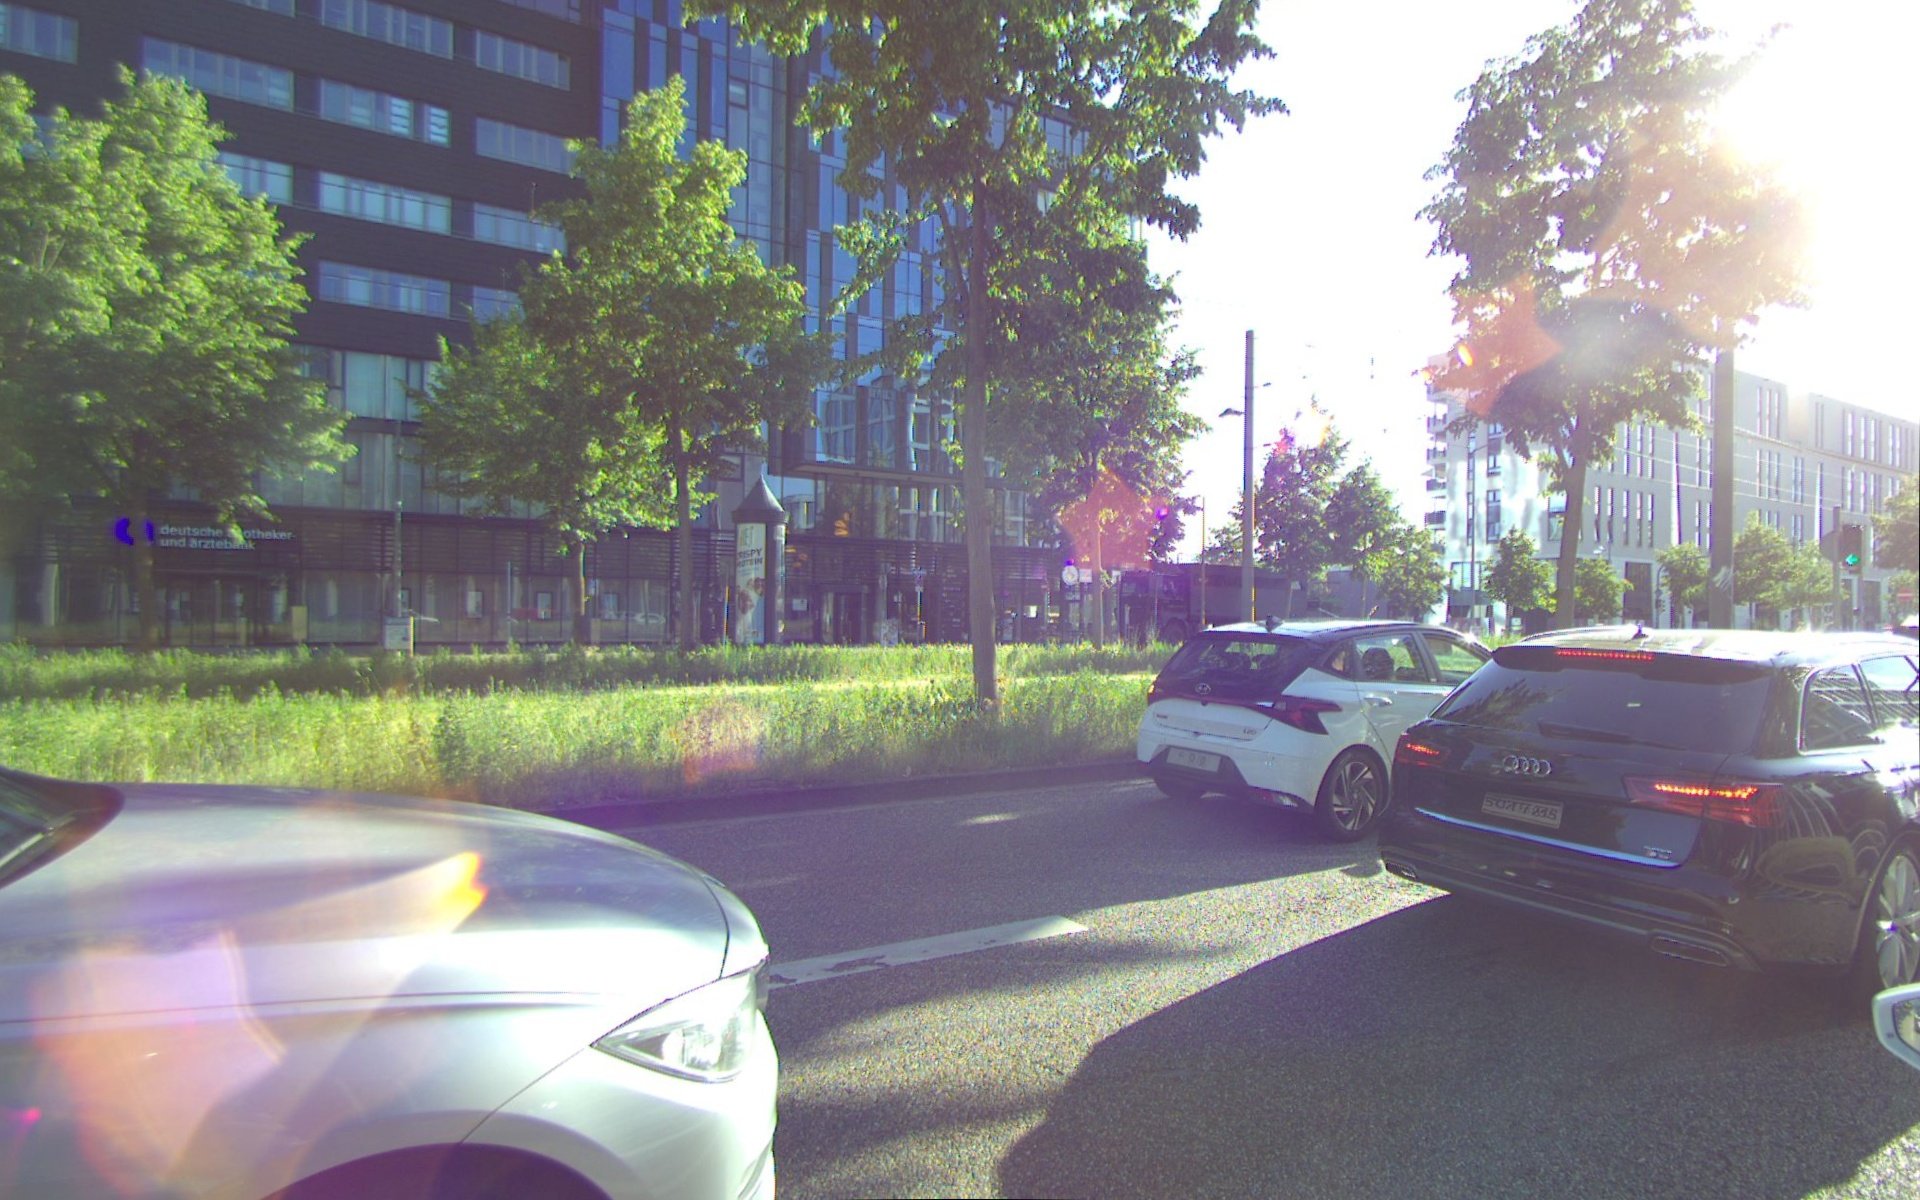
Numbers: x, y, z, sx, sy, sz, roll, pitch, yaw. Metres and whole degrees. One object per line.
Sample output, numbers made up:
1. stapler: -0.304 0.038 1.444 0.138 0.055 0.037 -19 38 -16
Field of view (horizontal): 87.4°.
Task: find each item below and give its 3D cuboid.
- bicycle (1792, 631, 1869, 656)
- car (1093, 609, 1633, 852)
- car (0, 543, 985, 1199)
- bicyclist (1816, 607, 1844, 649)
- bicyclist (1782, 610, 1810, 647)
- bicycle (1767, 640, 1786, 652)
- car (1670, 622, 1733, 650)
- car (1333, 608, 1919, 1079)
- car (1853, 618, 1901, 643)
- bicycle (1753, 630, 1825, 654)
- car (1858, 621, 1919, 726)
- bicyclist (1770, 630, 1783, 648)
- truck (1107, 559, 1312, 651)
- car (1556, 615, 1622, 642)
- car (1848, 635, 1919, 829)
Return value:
1. bicycle: 44.968 2.218 51.924 0.810 1.206 2.922 1 -1 -35
2. car: 3.382 0.842 8.097 4.520 1.467 1.788 1 -1 -33
3. car: -2.346 0.675 1.376 4.509 1.504 1.810 1 -1 -31
4. bicyclist: 44.984 1.438 51.941 0.810 2.120 0.933 1 -1 -36
5. bicyclist: 45.176 1.553 54.285 0.809 1.973 0.993 1 -1 -32
6. bicycle: 71.508 4.015 87.938 1.933 1.001 0.673 1 -1 -31
7. car: 51.472 2.506 69.694 4.319 1.838 1.984 1 -1 -30
8. car: 4.363 0.834 5.316 4.911 1.504 1.864 1 -1 -32
9. car: 78.098 2.583 85.544 3.953 2.040 1.984 1 -1 -30
10. bicycle: 44.977 2.265 54.553 0.809 1.206 2.926 1 -1 -32
11. car: 15.715 1.110 15.178 4.513 1.467 1.791 2 0 -29
12. bicyclist: 71.437 3.415 87.902 0.706 1.549 0.674 1 0 -30
13. truck: 11.701 0.299 46.507 10.094 3.904 2.877 1 -1 -31
14. car: 37.535 1.681 59.917 3.953 1.540 1.756 1 -1 -30
15. car: 9.279 1.034 8.187 4.288 1.445 1.833 1 -1 -30
